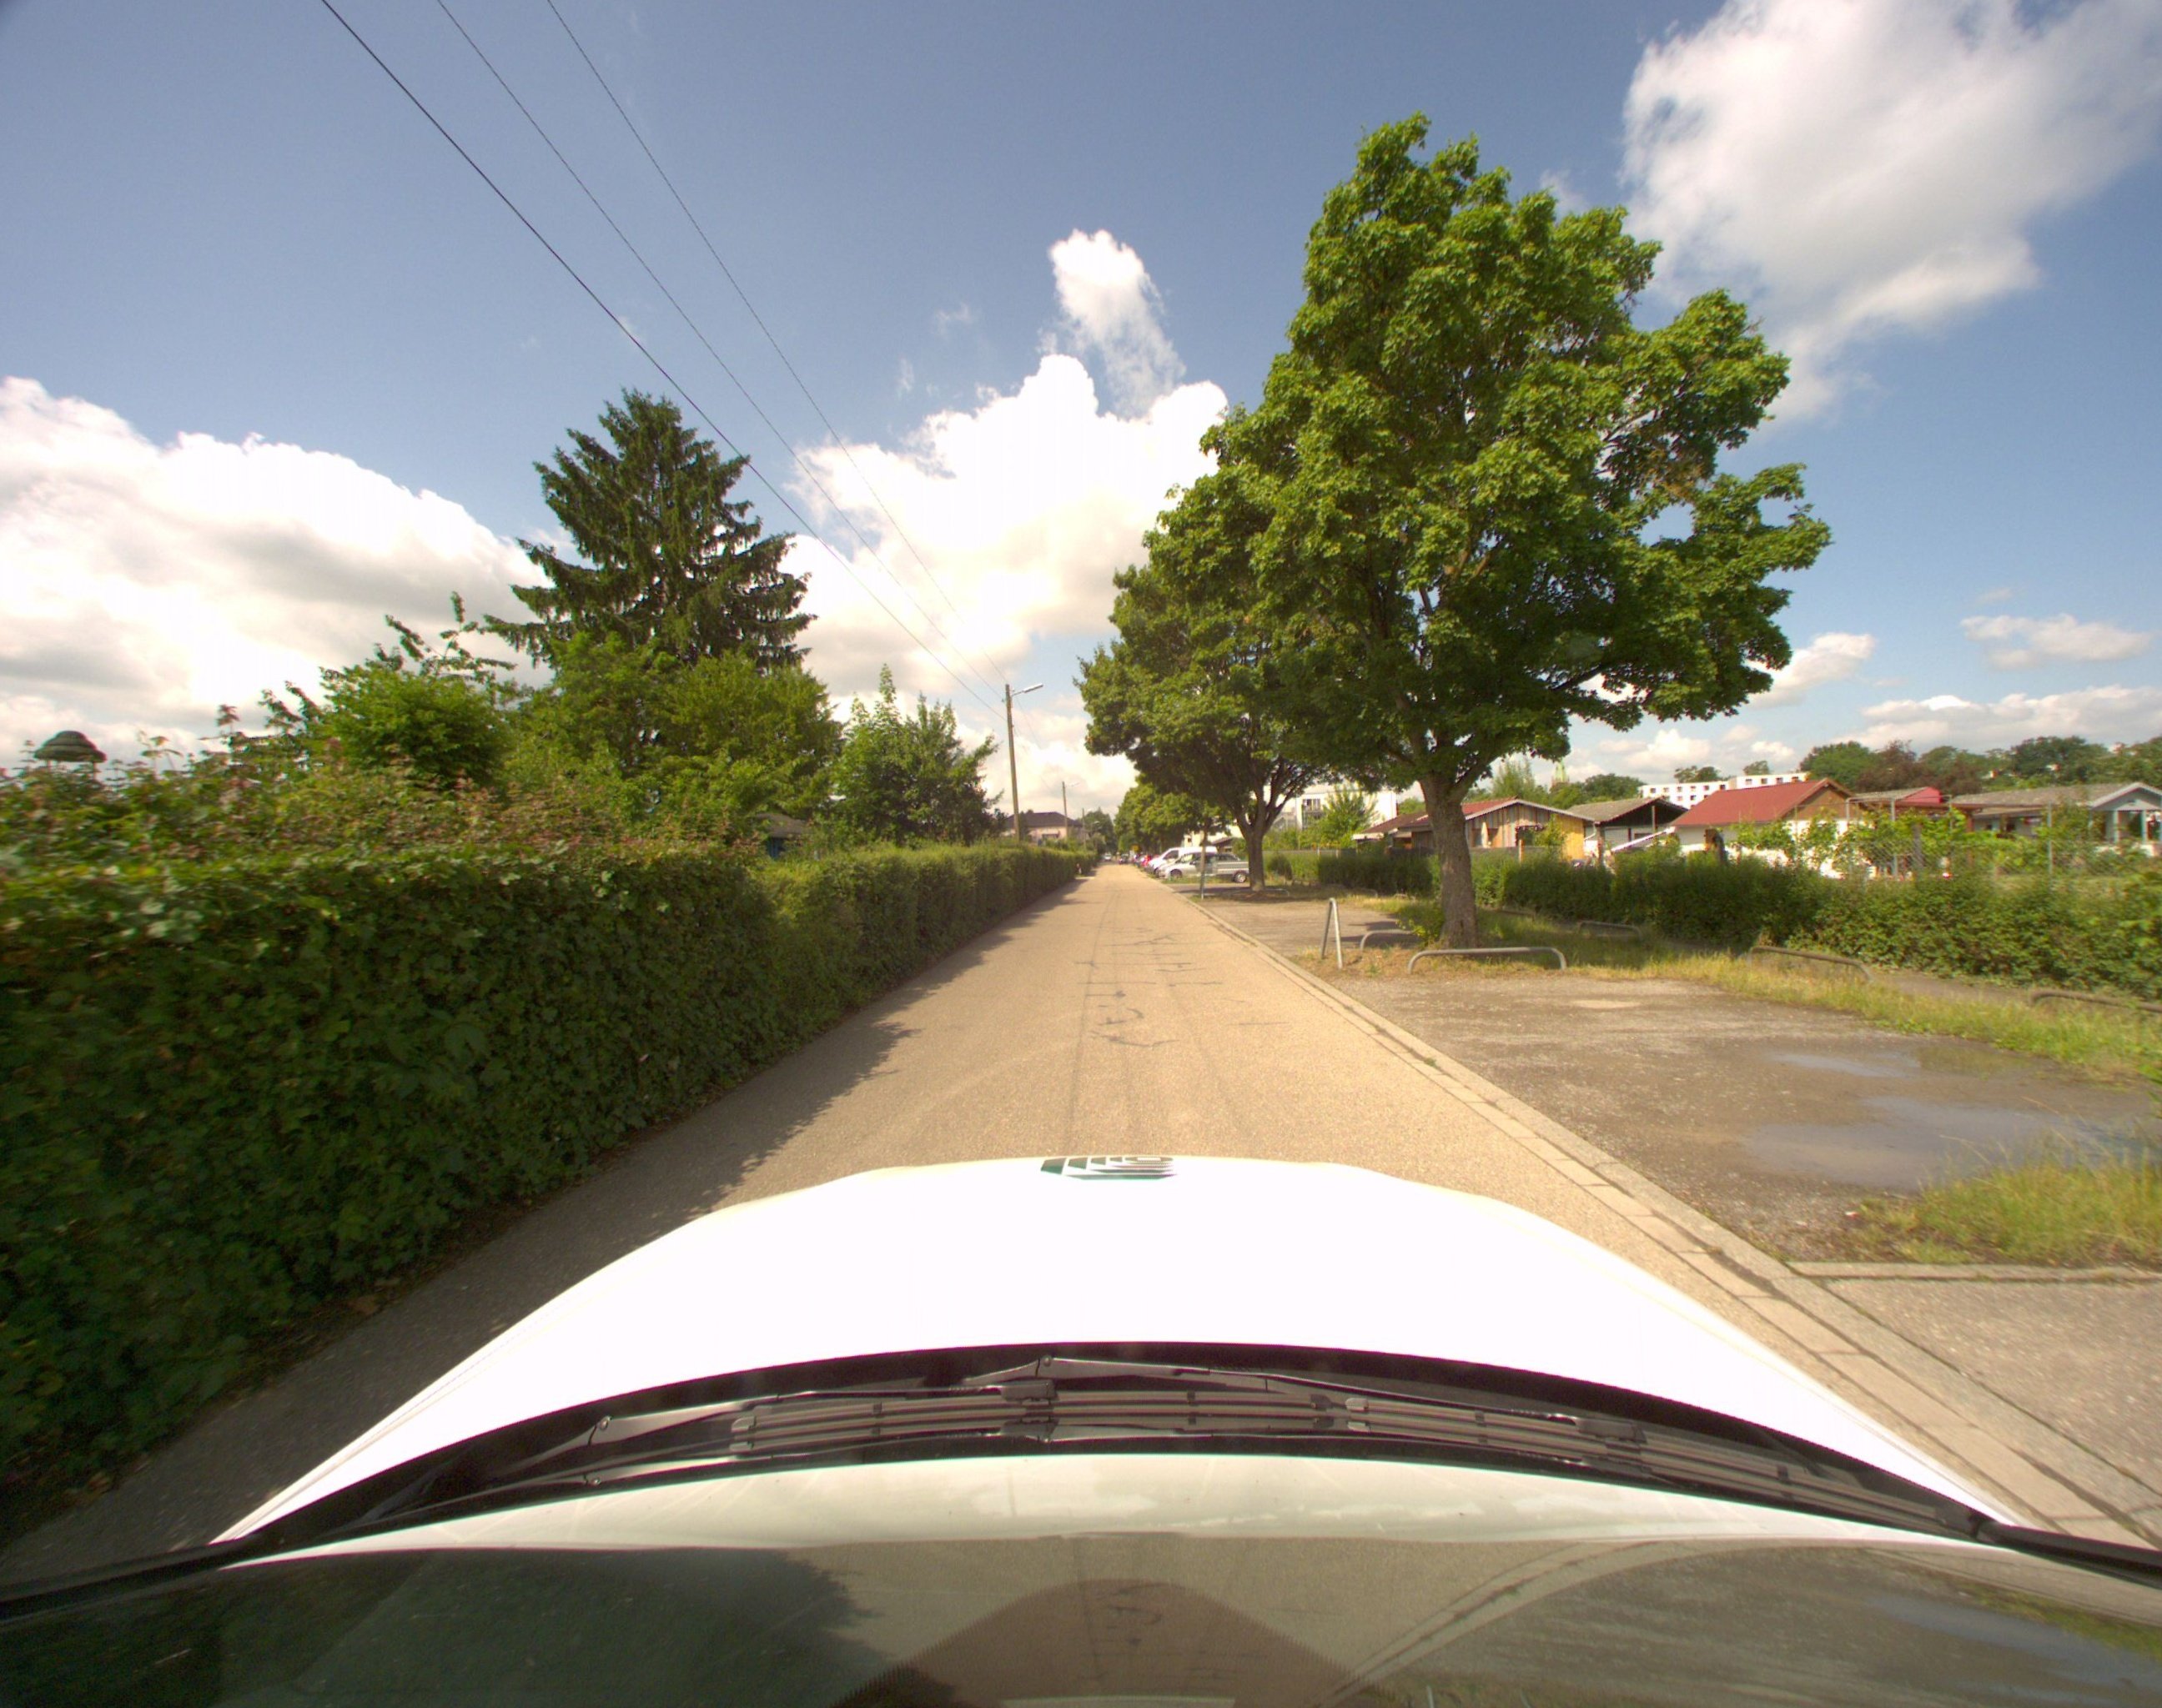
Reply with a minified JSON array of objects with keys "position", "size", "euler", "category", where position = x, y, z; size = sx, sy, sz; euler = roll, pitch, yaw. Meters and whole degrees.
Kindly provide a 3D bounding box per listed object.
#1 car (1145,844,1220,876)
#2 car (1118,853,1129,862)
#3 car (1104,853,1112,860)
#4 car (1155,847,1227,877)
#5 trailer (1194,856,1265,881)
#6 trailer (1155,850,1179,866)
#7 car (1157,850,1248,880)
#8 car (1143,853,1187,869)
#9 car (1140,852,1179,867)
[{"position":[6.634,0.384,53.554],"size":[4.619,1.886,2.111],"euler":[-3,0,0],"category":"car"},{"position":[7.243,0.664,138.040],"size":[1.654,1.506,4.008],"euler":[0,-1,7],"category":"car"},{"position":[6.900,0.625,206.611],"size":[1.893,1.814,4.005],"euler":[0,-1,5],"category":"car"},{"position":[6.792,0.493,50.801],"size":[4.227,1.592,2.001],"euler":[-3,0,2],"category":"car"},{"position":[7.085,0.698,39.088],"size":[3.088,1.142,2.001],"euler":[0,-1,2],"category":"trailer"},{"position":[9.566,0.472,90.399],"size":[2.443,1.720,1.517],"euler":[0,0,-2],"category":"trailer"},{"position":[6.469,0.572,43.846],"size":[4.565,1.466,1.999],"euler":[-1,0,-1],"category":"car"},{"position":[7.811,0.649,75.936],"size":[3.967,1.519,1.857],"euler":[0,-1,5],"category":"car"},{"position":[8.346,0.589,86.219],"size":[4.045,1.511,1.960],"euler":[0,-1,5],"category":"car"}]
